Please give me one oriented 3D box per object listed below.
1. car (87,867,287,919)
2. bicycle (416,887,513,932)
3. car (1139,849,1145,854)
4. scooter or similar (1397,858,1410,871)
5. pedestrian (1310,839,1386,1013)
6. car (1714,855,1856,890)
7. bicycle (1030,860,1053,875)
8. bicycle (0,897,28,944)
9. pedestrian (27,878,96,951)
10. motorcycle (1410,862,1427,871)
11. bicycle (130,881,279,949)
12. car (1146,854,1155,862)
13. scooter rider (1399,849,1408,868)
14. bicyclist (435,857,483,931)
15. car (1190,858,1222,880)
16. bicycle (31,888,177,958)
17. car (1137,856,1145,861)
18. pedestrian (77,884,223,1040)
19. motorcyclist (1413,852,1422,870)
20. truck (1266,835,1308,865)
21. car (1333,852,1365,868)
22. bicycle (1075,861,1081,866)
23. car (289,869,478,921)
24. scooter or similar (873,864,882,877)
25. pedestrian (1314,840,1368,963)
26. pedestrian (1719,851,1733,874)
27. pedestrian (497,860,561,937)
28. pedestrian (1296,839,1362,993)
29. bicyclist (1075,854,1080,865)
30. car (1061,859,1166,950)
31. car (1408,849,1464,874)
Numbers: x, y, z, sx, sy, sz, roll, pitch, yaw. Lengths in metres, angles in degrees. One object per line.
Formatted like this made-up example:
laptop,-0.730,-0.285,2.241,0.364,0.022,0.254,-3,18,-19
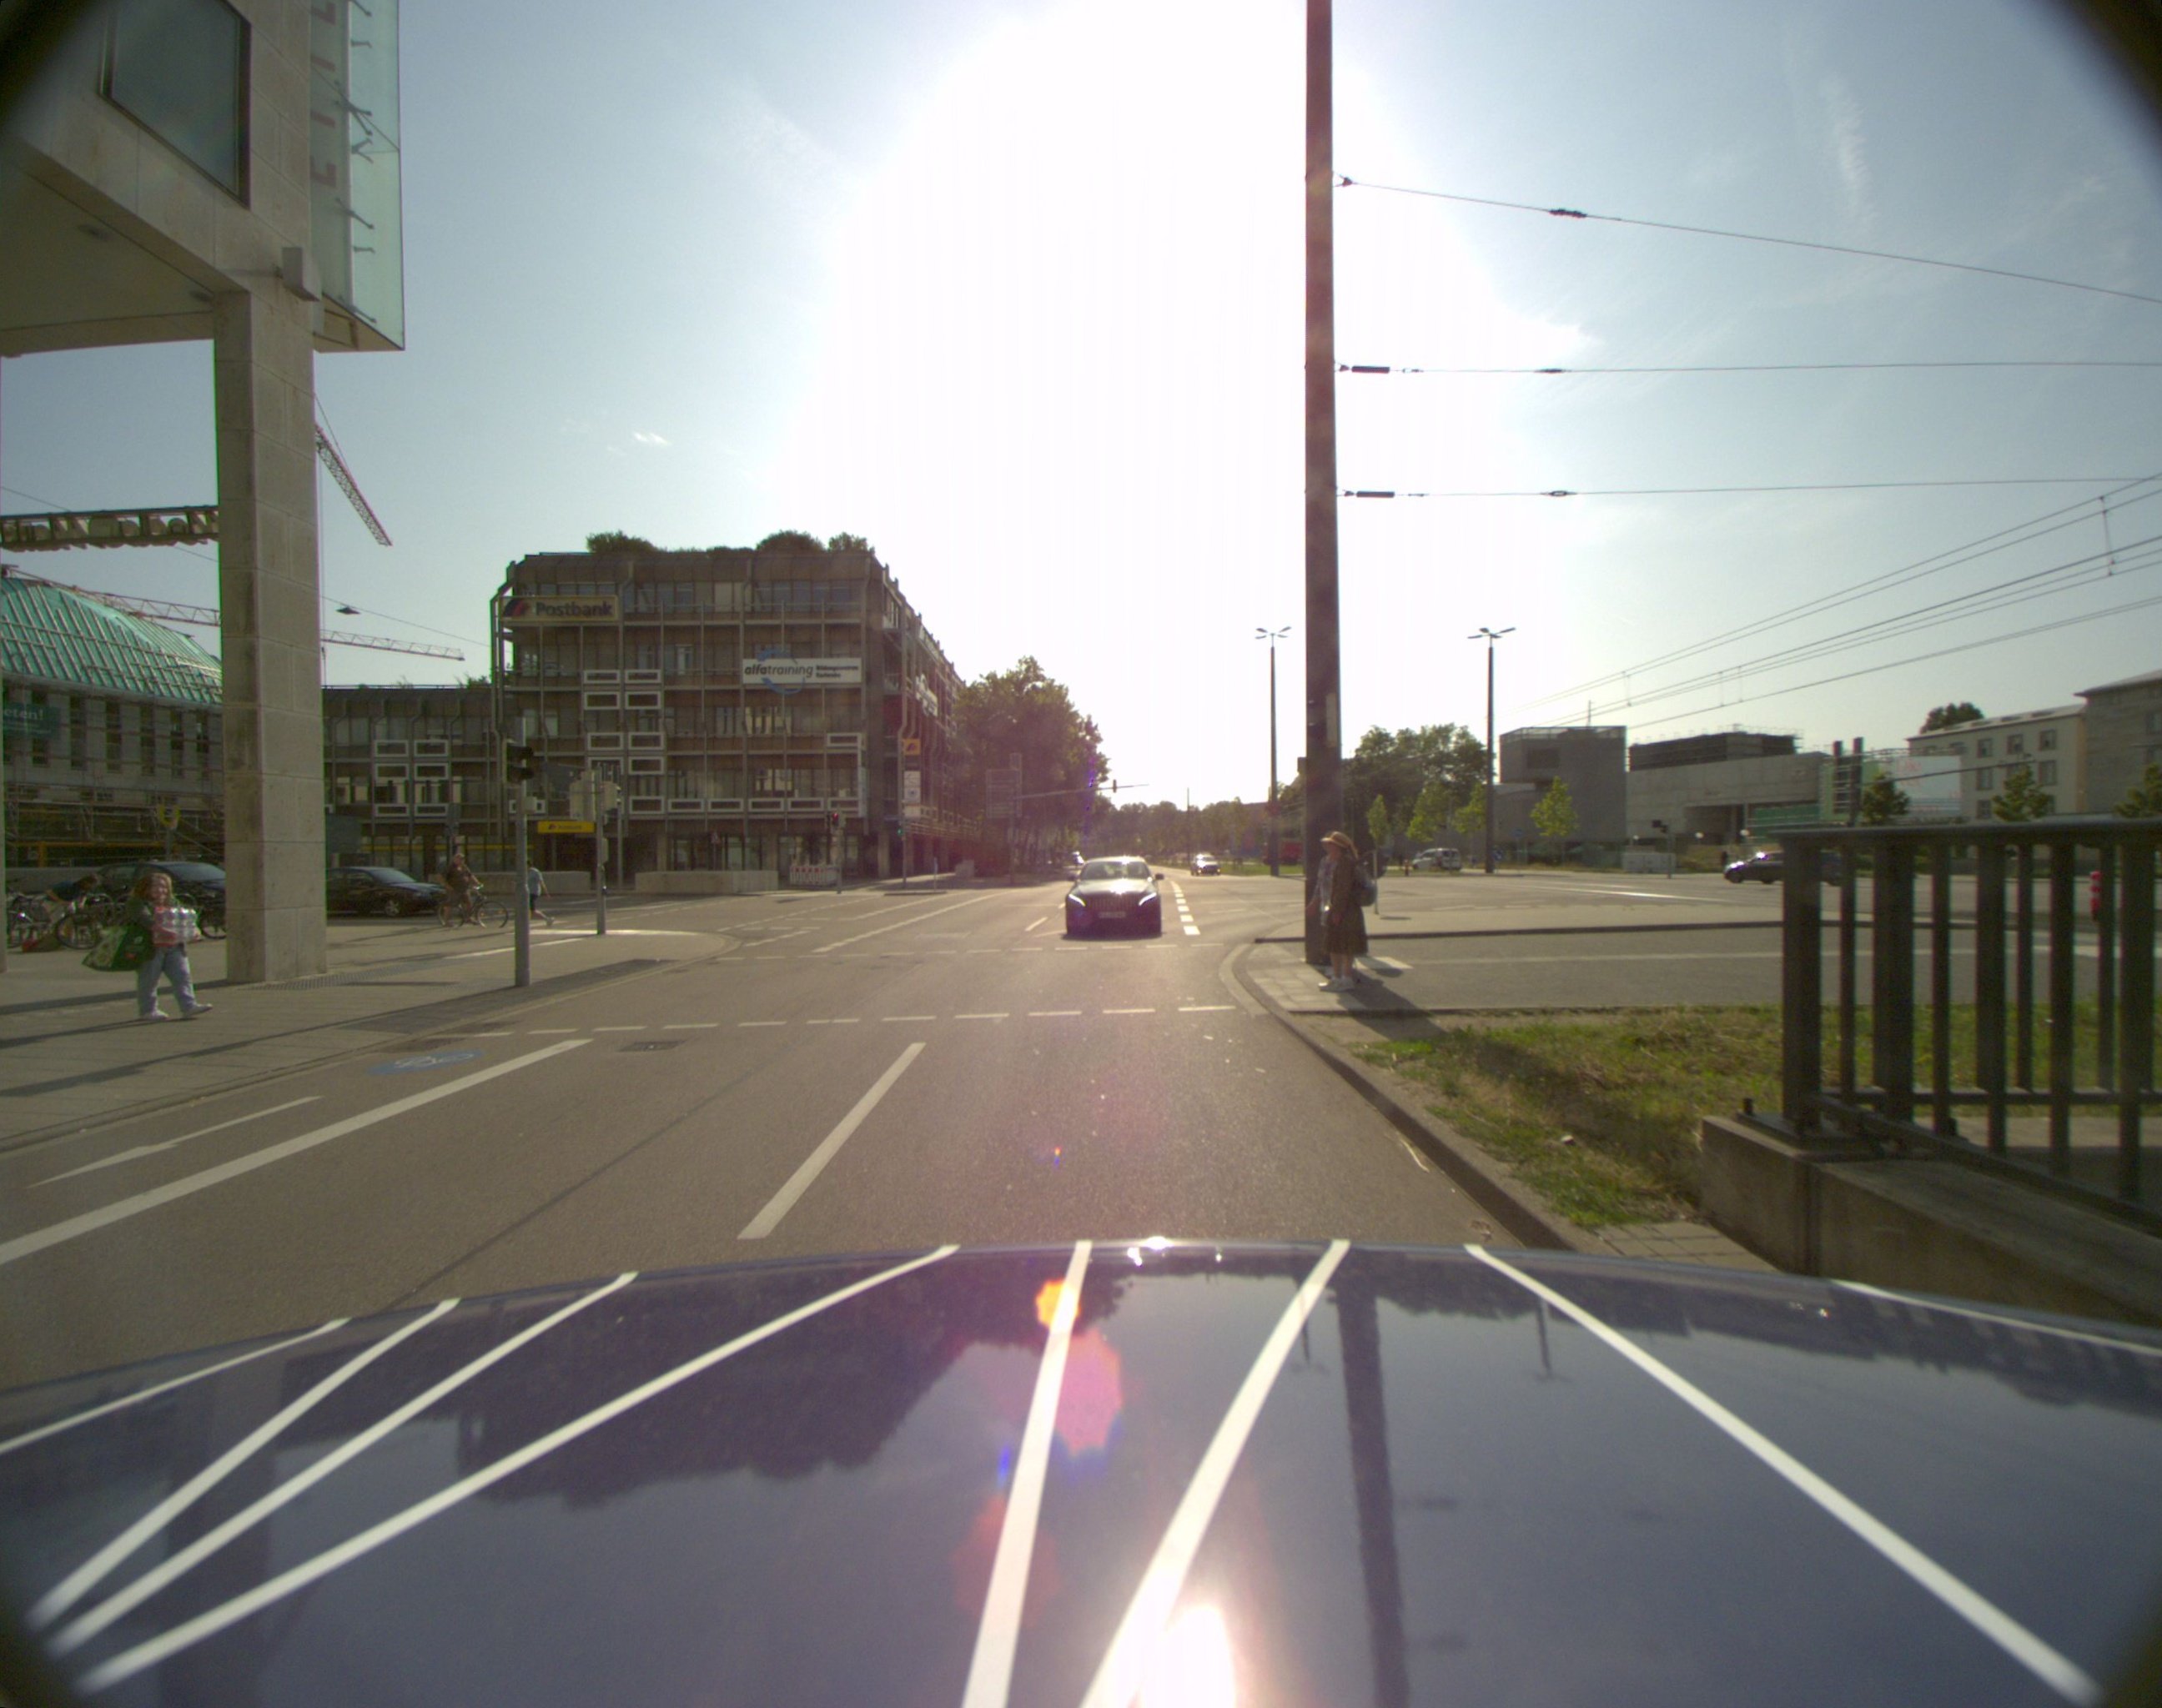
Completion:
car,-26.303,1.116,22.440,3.909,1.394,1.879,-1,1,5
bicycle,-14.595,1.301,18.016,1.806,1.011,0.612,-1,0,1
car,20.740,-0.831,259.731,1.756,1.968,3.771,-1,0,1
scooter or similar,29.892,0.972,70.501,0.540,1.140,1.383,-1,0,-5
pedestrian,2.654,0.686,7.607,0.468,1.640,0.777,-1,0,1
car,29.290,0.718,31.819,1.600,1.339,4.422,-1,0,-5
bicycle,-3.257,1.100,62.617,1.831,1.181,0.537,0,1,6
bicycle,-22.718,1.396,15.233,0.459,0.951,1.857,-1,0,10
pedestrian,-19.419,1.141,14.482,0.513,1.348,0.547,-1,1,-6
motorcycle,29.349,1.080,66.139,0.520,0.828,1.821,-1,0,-6
bicycle,-18.269,1.234,15.923,0.614,1.230,2.070,-1,0,3
car,19.946,1.174,218.434,1.998,2.002,4.000,-2,1,1
scooter rider,29.900,0.430,70.496,0.538,1.688,0.549,-1,1,-4
bicyclist,-14.739,0.938,18.013,0.636,1.728,0.582,-1,1,1
car,8.854,1.017,54.066,1.708,1.424,3.870,-3,0,2
bicycle,-18.967,1.306,14.814,0.501,1.192,1.793,-1,0,0
car,18.201,1.390,231.547,1.998,1.523,4.000,-2,0,1
pedestrian,-9.288,1.049,7.604,0.709,1.479,0.605,-1,0,4
motorcyclist,29.305,0.615,66.166,0.392,1.519,0.861,-1,0,-6
truck,27.166,-0.518,100.782,2.979,3.787,10.423,-1,0,2
car,26.531,0.570,75.263,1.644,1.592,3.999,-1,0,-2
bicycle,-0.433,1.375,109.694,0.630,0.702,1.808,-1,0,-9
car,-20.200,1.174,22.109,3.901,1.359,1.877,-1,1,5
scooter or similar,-13.609,1.099,50.868,0.279,0.838,0.959,-1,0,1
pedestrian,3.611,0.643,10.607,0.468,1.640,0.777,-1,0,1
pedestrian,48.253,0.636,56.813,0.606,1.687,0.538,-1,0,5
pedestrian,-12.743,1.008,17.566,0.644,1.701,0.990,-1,0,9
pedestrian,2.751,0.662,8.473,0.468,1.640,0.777,-1,0,1
bicyclist,-0.451,0.797,109.828,0.612,1.504,0.813,-1,0,-9
car,0.671,0.863,15.179,1.716,1.429,5.058,-1,0,3
car,26.491,0.523,56.844,1.621,1.778,4.515,-1,0,-7
